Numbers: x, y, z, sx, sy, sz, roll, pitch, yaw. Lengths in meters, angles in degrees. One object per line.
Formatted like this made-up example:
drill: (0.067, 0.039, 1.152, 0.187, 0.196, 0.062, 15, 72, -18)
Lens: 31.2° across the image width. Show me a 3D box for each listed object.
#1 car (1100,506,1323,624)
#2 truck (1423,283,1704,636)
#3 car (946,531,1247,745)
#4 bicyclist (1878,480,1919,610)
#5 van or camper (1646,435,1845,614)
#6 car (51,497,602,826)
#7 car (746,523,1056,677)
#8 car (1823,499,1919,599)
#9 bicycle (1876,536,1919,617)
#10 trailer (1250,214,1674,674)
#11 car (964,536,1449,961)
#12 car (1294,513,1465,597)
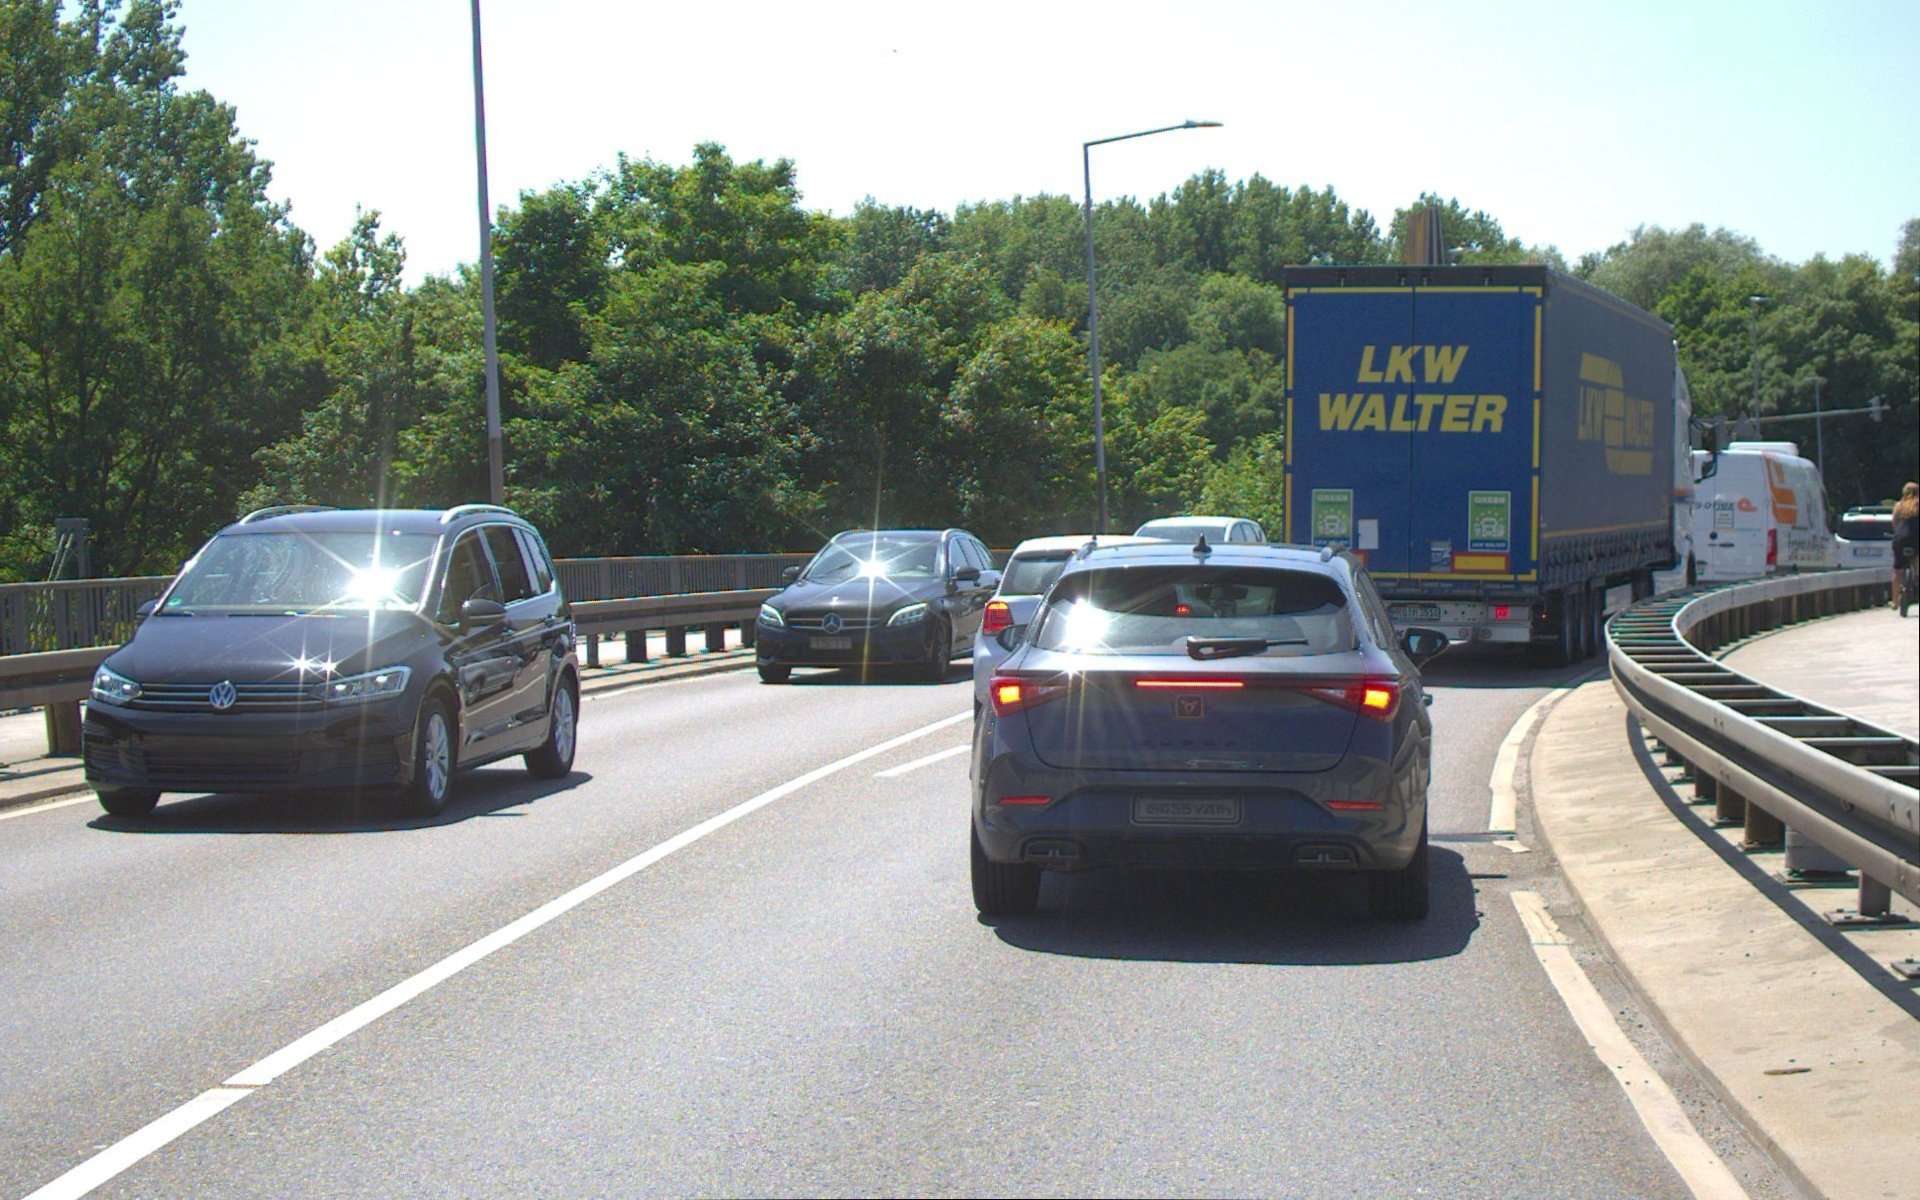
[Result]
car: (3.558, -0.510, 47.968, 1.739, 1.574, 4.171, 0, 1, 25)
truck: (8.248, -1.855, 46.403, 2.907, 4.403, 6.550, 1, 2, 17)
car: (1.094, 0.216, 25.565, 1.678, 1.406, 3.973, 1, 2, 10)
bicyclist: (12.500, -0.731, 45.413, 0.578, 1.677, 0.728, -2, 0, 23)
van or camper: (13.157, -1.269, 57.247, 2.157, 2.806, 6.380, 1, 2, 23)
car: (-3.369, 0.265, 19.145, 1.772, 1.620, 4.252, 0, 1, 8)
car: (-0.502, -0.043, 34.295, 1.773, 1.434, 4.388, 0, 1, 18)
car: (17.876, -1.018, 65.995, 1.723, 1.837, 3.995, 1, 2, 26)
bicycle: (12.516, -0.325, 45.397, 0.582, 1.032, 1.483, -2, 0, 23)
trailer: (6.075, -1.667, 39.299, 2.907, 4.403, 12.423, 1, 2, 17)
car: (0.967, 0.479, 13.941, 1.677, 1.451, 3.958, 0, 1, 3)
car: (7.132, -0.770, 58.168, 1.699, 1.371, 3.995, 0, 1, 25)
